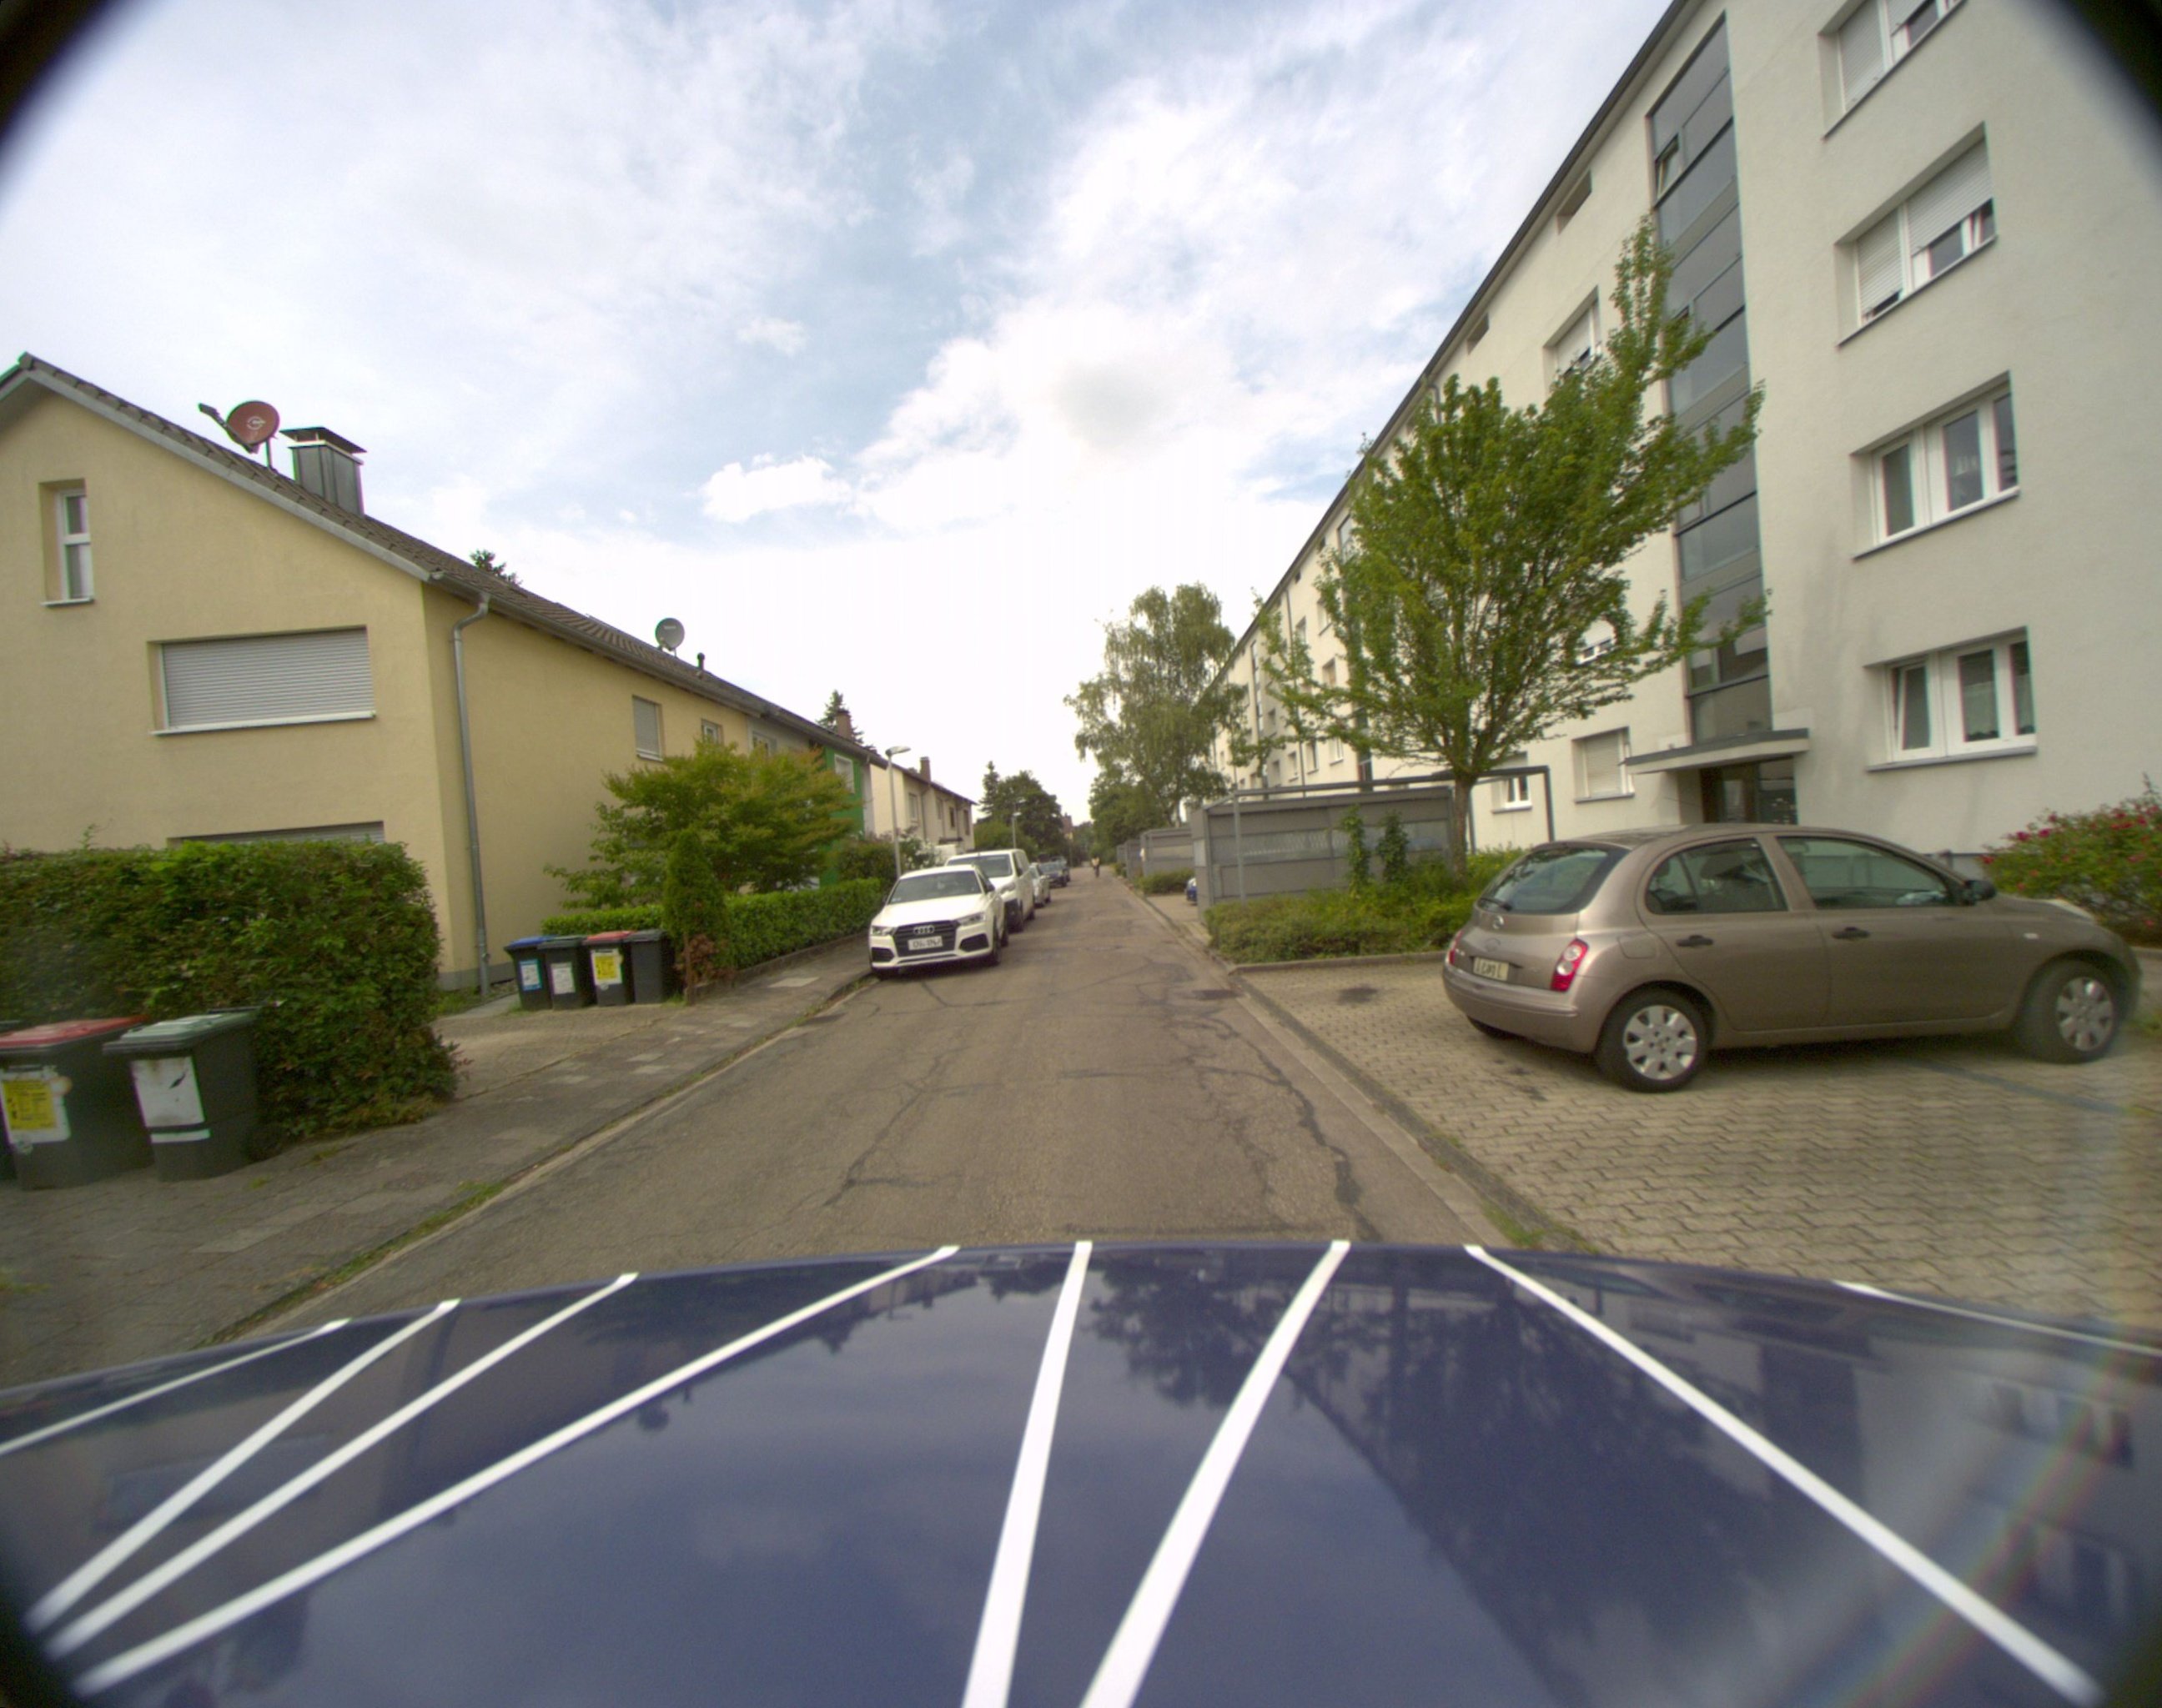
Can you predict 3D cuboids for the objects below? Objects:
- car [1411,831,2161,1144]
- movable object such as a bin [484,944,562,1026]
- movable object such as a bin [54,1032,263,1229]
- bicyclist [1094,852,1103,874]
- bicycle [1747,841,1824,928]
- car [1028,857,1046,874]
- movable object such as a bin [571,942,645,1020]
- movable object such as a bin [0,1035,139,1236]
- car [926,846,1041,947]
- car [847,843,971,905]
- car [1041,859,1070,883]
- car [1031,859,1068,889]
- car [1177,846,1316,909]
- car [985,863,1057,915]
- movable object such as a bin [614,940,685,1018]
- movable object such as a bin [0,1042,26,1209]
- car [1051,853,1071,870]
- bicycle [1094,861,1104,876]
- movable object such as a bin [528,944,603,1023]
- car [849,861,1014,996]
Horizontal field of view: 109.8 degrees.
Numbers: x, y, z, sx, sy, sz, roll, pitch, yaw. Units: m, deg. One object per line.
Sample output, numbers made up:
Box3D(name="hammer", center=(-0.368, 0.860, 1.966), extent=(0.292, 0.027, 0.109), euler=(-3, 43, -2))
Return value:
Box3D(name="car", center=(4.347, 0.707, 4.974), extent=(3.571, 1.472, 1.710), euler=(-3, 0, -3))
Box3D(name="movable object such as a bin", center=(-6.971, 1.630, 9.507), extent=(0.511, 0.900, 0.523), euler=(-4, 0, 1))
Box3D(name="movable object such as a bin", center=(-5.248, 1.552, 4.353), extent=(0.511, 0.916, 0.500), euler=(-4, 0, 1))
Box3D(name="bicyclist", center=(1.336, 0.686, 57.395), extent=(0.598, 1.571, 0.767), euler=(-3, 1, 3))
Box3D(name="bicycle", center=(9.596, 0.386, 10.325), extent=(1.814, 1.018, 0.478), euler=(-4, 0, -39))
Box3D(name="car", center=(-4.604, 1.177, 80.077), extent=(1.705, 1.458, 3.998), euler=(-4, 2, -1))
Box3D(name="movable object such as a bin", center=(-5.898, 1.573, 9.494), extent=(0.511, 0.863, 0.529), euler=(-4, 0, 1))
Box3D(name="movable object such as a bin", center=(-5.972, 1.586, 4.329), extent=(0.511, 0.961, 0.500), euler=(-4, 0, 1))
Box3D(name="car", center=(-2.189, 0.891, 18.611), extent=(1.908, 1.953, 5.253), euler=(-6, 0, 1))
Box3D(name="car", center=(-7.960, 0.898, 35.546), extent=(5.100, 2.527, 2.238), euler=(-3, 0, 2))
Box3D(name="car", center=(-1.749, 1.177, 53.765), extent=(1.834, 1.449, 4.190), euler=(-5, 0, -1))
Box3D(name="car", center=(-1.759, 1.130, 43.515), extent=(1.834, 1.449, 4.190), euler=(-5, 0, -1))
Box3D(name="car", center=(4.693, 0.647, 21.956), extent=(3.643, 1.453, 1.653), euler=(-5, 0, 5))
Box3D(name="car", center=(-1.982, 1.145, 26.409), extent=(1.787, 1.412, 4.456), euler=(-6, 0, 3))
Box3D(name="movable object such as a bin", center=(-5.373, 1.546, 9.481), extent=(0.511, 0.863, 0.529), euler=(-4, 0, 1))
Box3D(name="movable object such as a bin", center=(-6.659, 1.632, 4.331), extent=(0.511, 0.961, 0.500), euler=(-4, 0, 1))
Box3D(name="car", center=(-2.108, 0.771, 79.398), extent=(1.926, 1.576, 3.999), euler=(-6, 0, -1))
Box3D(name="bicycle", center=(1.362, 1.064, 57.526), extent=(0.598, 1.070, 2.043), euler=(-3, 0, 3))
Box3D(name="movable object such as a bin", center=(-6.431, 1.607, 9.498), extent=(0.511, 0.863, 0.529), euler=(-4, 0, 1))
Box3D(name="car", center=(-2.212, 1.034, 12.429), extent=(1.830, 1.626, 4.161), euler=(-6, 0, -2))
